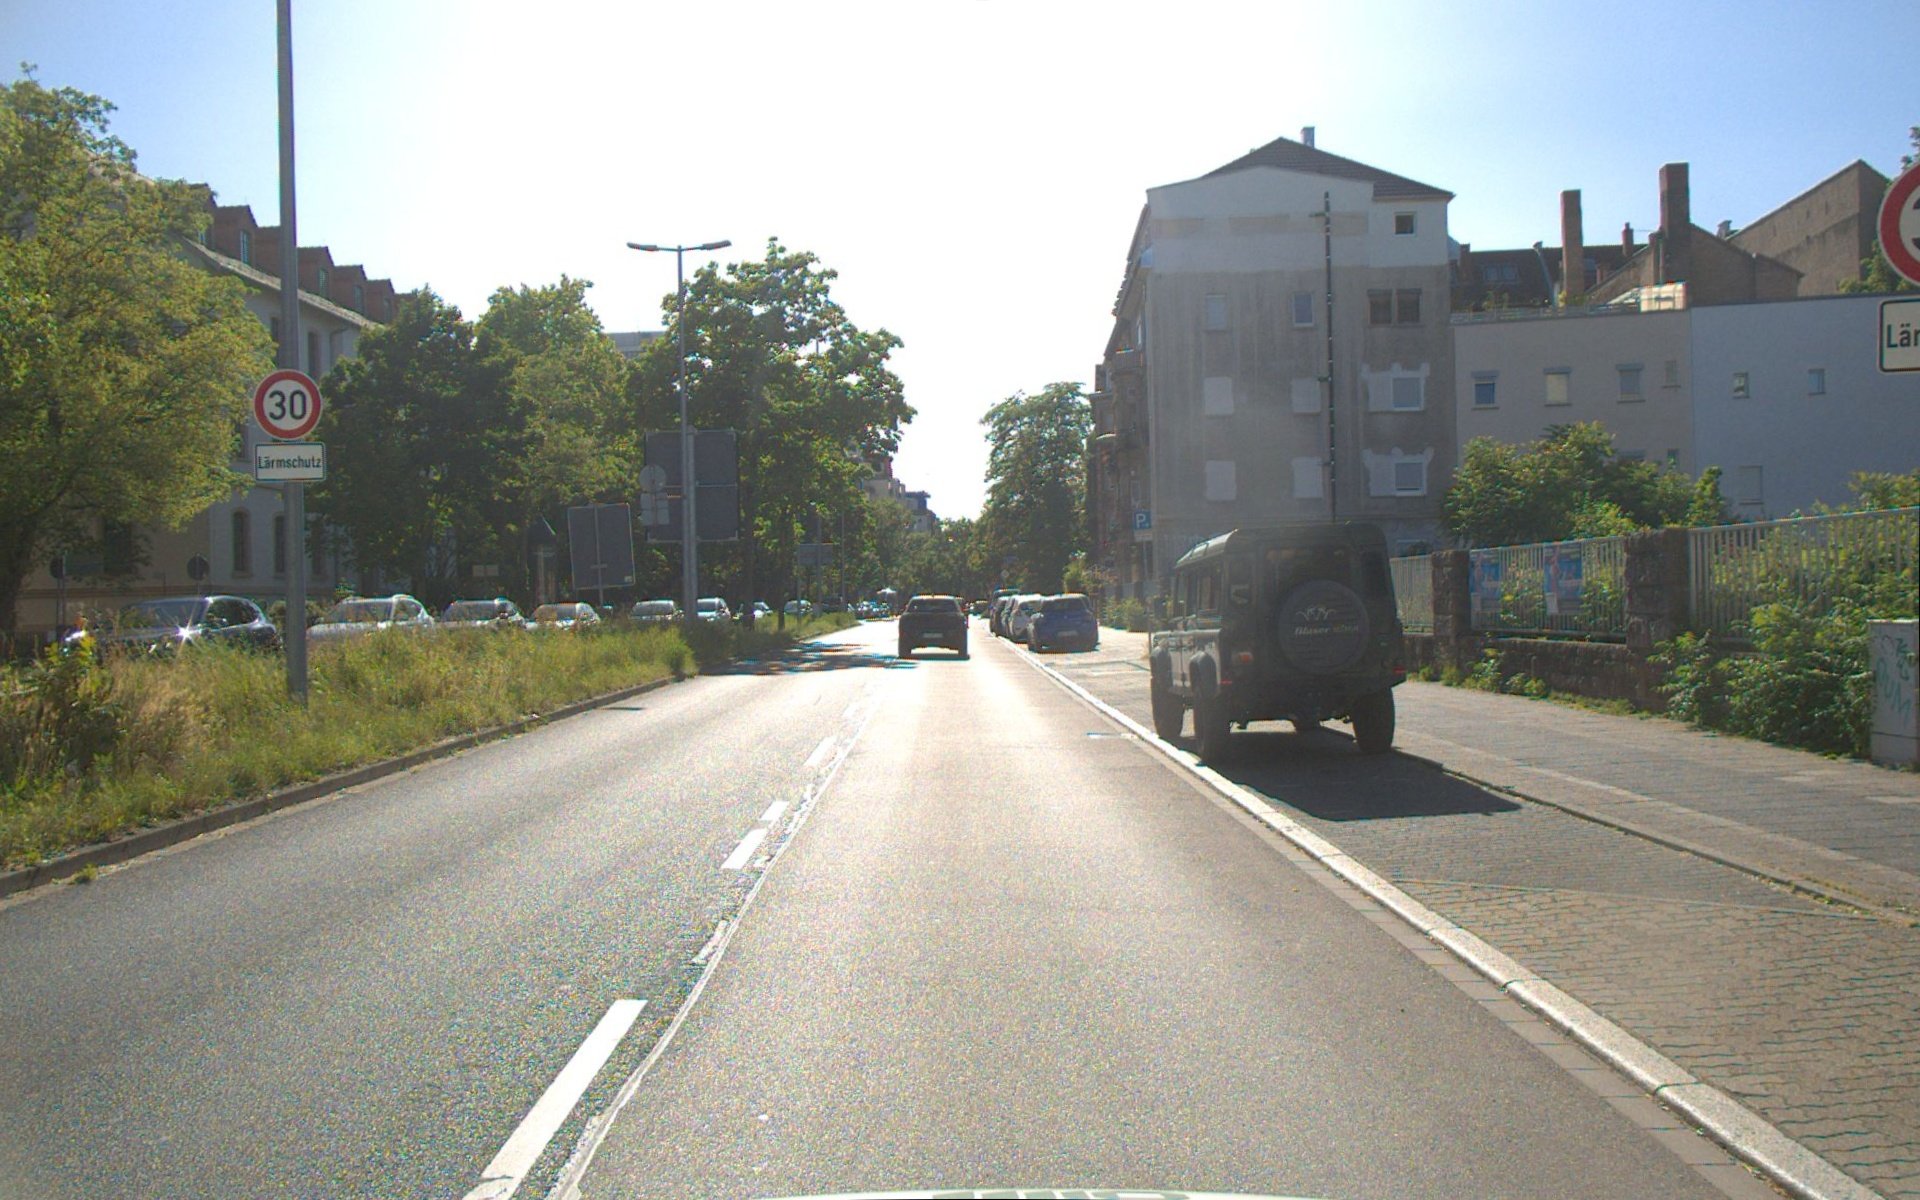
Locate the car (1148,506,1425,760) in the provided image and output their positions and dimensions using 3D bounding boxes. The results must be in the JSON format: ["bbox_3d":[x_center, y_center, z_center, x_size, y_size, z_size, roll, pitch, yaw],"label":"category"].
[{"bbox_3d":[2.989,0.293,16.144,1.626,2.049,4.775,-2,-1,-1],"label":"car"}]

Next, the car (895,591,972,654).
[{"bbox_3d":[-0.739,0.568,43.134,1.857,1.545,3.997,1,0,-3],"label":"car"}]

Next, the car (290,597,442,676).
[{"bbox_3d":[-12.455,0.728,34.972,1.759,1.545,4.257,-1,0,-2],"label":"car"}]

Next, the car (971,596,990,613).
[{"bbox_3d":[2.093,0.484,169.076,1.881,1.668,4.000,-2,0,1],"label":"car"}]

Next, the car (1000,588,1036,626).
[{"bbox_3d":[3.038,0.326,86.211,1.781,1.876,4.365,-2,0,2],"label":"car"}]

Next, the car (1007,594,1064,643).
[{"bbox_3d":[2.528,0.595,56.200,1.576,1.471,3.657,-4,0,-1],"label":"car"}]

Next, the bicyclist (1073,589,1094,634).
[{"bbox_3d":[4.547,0.407,60.799,0.726,1.608,1.100,0,1,1],"label":"bicyclist"}]

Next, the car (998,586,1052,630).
[{"bbox_3d":[2.401,0.294,61.958,1.635,1.545,3.658,-2,0,-4],"label":"car"}]

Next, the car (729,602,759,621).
[{"bbox_3d":[-19.857,1.055,152.125,1.946,1.691,3.976,-1,0,-20],"label":"car"}]

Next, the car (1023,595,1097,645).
[{"bbox_3d":[2.792,0.538,46.733,1.635,1.203,3.899,-4,0,-2],"label":"car"}]

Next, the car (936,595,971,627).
[{"bbox_3d":[-0.337,0.566,83.661,1.756,1.547,3.848,0,-1,-1],"label":"car"}]

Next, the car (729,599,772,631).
[{"bbox_3d":[-10.887,0.822,86.002,1.759,1.545,4.085,-3,-1,-2],"label":"car"}]

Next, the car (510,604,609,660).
[{"bbox_3d":[-12.075,0.937,50.167,1.801,1.545,4.666,-2,0,1],"label":"car"}]

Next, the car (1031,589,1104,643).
[{"bbox_3d":[3.309,0.465,51.524,1.635,1.485,3.983,-4,0,-4],"label":"car"}]

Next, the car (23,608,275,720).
[{"bbox_3d":[-12.306,0.914,25.454,1.759,1.545,4.443,-1,0,-2],"label":"car"}]

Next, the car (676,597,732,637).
[{"bbox_3d":[-11.346,0.746,73.613,1.862,1.654,4.535,-2,0,-2],"label":"car"}]

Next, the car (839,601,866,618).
[{"bbox_3d":[-9.768,0.850,150.435,1.721,1.545,3.862,-2,0,7],"label":"car"}]

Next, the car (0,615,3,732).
[{"bbox_3d":[-12.171,0.875,17.434,1.759,1.375,4.257,-1,0,-2],"label":"car"}]

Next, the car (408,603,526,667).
[{"bbox_3d":[-12.500,0.905,42.220,1.759,1.546,4.257,0,-2,0],"label":"car"}]
